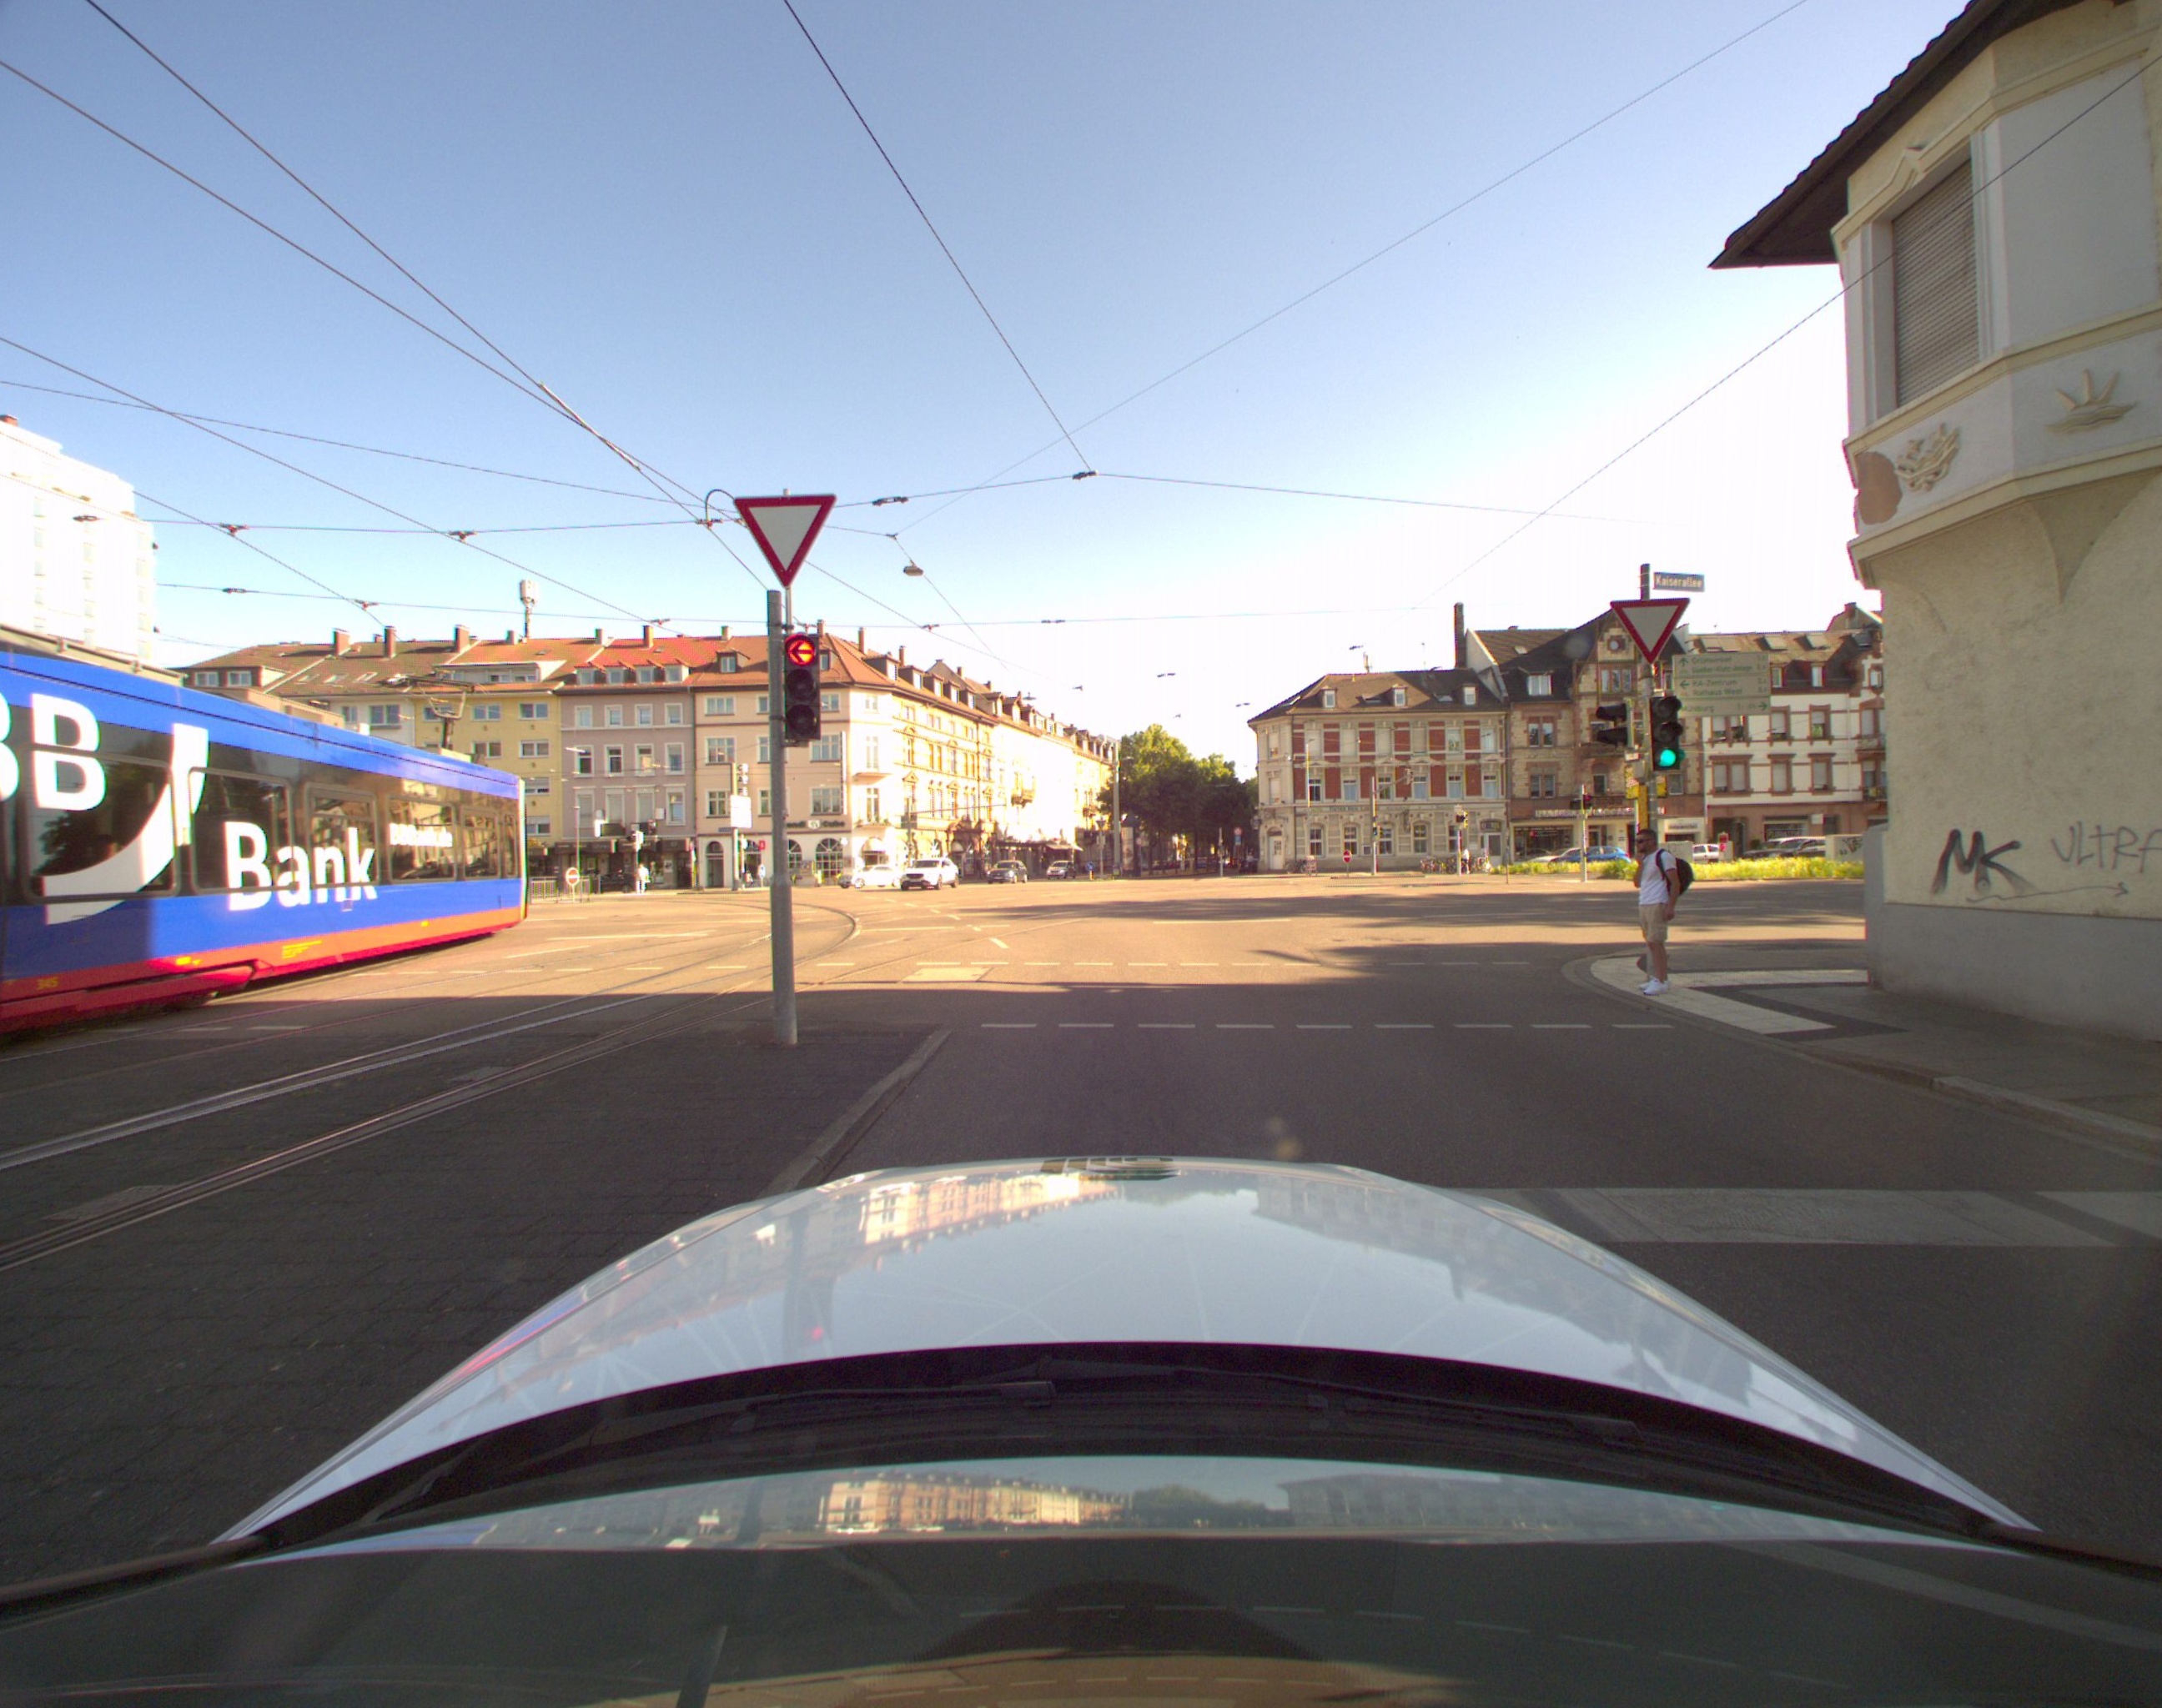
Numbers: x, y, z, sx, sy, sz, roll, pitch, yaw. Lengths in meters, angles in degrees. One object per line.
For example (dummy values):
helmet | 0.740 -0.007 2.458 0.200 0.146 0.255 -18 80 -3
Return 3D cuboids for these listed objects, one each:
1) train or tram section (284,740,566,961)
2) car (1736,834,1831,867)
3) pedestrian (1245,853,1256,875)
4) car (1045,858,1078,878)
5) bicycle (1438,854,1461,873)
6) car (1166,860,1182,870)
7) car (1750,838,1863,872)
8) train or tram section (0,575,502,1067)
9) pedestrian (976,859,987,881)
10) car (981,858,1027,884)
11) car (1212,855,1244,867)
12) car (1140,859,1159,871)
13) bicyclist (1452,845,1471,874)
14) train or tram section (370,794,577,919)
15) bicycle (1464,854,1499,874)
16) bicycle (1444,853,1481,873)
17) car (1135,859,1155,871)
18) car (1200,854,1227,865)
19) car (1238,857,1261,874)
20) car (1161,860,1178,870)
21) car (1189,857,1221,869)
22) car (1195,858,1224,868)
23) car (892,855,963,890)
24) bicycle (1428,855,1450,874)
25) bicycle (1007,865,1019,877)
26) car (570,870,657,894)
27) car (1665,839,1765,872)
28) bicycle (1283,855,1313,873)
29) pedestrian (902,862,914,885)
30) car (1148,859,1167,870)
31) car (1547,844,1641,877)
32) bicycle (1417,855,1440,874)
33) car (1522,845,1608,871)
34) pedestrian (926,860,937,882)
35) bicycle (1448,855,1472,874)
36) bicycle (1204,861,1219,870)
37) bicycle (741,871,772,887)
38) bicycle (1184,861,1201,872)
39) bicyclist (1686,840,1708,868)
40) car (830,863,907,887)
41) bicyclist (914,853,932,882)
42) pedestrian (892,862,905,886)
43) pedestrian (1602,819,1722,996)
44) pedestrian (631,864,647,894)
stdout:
train or tram section | -14.657 -0.006 19.515 3.074 3.613 12.385 -1 0 -29
car | 45.235 -0.195 52.505 4.388 1.965 1.955 -1 0 1
pedestrian | 13.159 0.736 63.178 0.710 1.669 0.943 -2 0 14
car | -1.623 1.160 68.143 1.705 1.497 3.599 -2 0 16
bicycle | 23.847 0.619 52.769 0.674 1.191 1.969 -1 0 3
car | 15.563 1.876 136.357 1.978 1.497 4.051 -2 0 16
car | 39.755 0.058 44.708 4.456 1.668 1.955 -2 0 1
train or tram section | -10.283 -0.188 8.543 3.062 3.613 12.045 -1 0 -17
pedestrian | -8.707 1.392 71.053 0.676 1.908 0.636 -2 0 18
car | -4.848 1.049 51.923 1.763 1.497 4.585 -2 0 9
car | 20.947 1.002 116.207 3.948 1.545 2.013 -2 0 32
car | 9.907 1.580 117.313 1.978 1.497 4.051 -2 0 16
bicyclist | 23.620 0.318 50.521 0.869 1.764 0.602 -1 0 4
train or tram section | -21.652 0.181 28.562 11.958 3.613 3.084 -2 0 40
bicycle | 25.744 0.634 52.317 1.961 1.191 0.677 -1 0 -10
bicycle | 23.640 0.580 50.516 1.952 1.191 0.602 -2 0 4
car | 8.936 1.551 112.847 1.978 1.497 4.051 -2 0 16
car | 21.865 0.912 134.142 3.949 1.545 2.012 -2 0 30
car | 17.016 1.144 82.175 1.978 1.497 4.051 -2 0 16
car | 14.261 1.773 131.645 1.978 1.497 4.051 -2 0 16
car | 17.531 1.237 115.436 3.949 1.545 2.012 -2 0 30
car | 20.205 1.441 128.018 3.949 1.545 2.012 -2 0 30
car | -7.197 0.845 38.643 1.983 1.497 4.356 -2 0 7
bicycle | 23.199 0.652 52.784 0.674 1.191 1.969 -1 0 3
bicycle | -6.707 1.673 79.879 0.491 1.067 1.778 -2 0 18
car | -30.702 1.832 53.542 4.626 1.440 1.743 -1 -1 -1
car | 34.805 0.087 44.772 3.973 1.668 1.955 -2 0 1
bicycle | 15.189 0.713 56.969 1.950 1.191 0.547 -2 0 6
pedestrian | -12.240 1.367 57.649 0.626 1.642 0.554 -2 0 15
car | 11.524 1.613 122.513 1.978 1.497 4.051 -2 0 16
car | 28.317 0.333 45.037 3.973 1.668 1.955 -2 0 1
bicycle | 22.497 0.642 52.775 0.674 1.191 1.969 -1 0 3
car | 28.509 0.255 48.031 3.973 1.412 1.846 -2 0 1
pedestrian | -11.587 1.301 63.222 0.546 1.642 0.635 -2 0 16
bicycle | 24.522 0.692 52.744 0.674 1.191 1.969 -1 0 3
bicycle | 15.875 1.354 99.047 0.586 1.067 1.928 -1 0 -34
bicycle | -22.811 1.775 57.268 1.940 1.067 0.582 -1 0 -6
bicycle | 11.334 1.280 82.654 0.586 1.067 1.928 -1 0 -34
bicyclist | 38.418 -0.001 50.784 0.900 1.764 0.601 -1 0 -1
car | -13.195 1.288 50.713 1.974 1.355 4.249 -2 0 39
bicyclist | -8.728 0.741 44.998 0.718 1.559 0.979 -1 0 -24
pedestrian | -12.677 1.415 56.513 0.670 1.642 0.581 -2 0 15
pedestrian | 6.096 0.541 8.560 0.691 1.740 0.668 -4 -1 -28
pedestrian | -24.457 1.386 45.044 0.730 1.627 0.665 -1 0 -32
